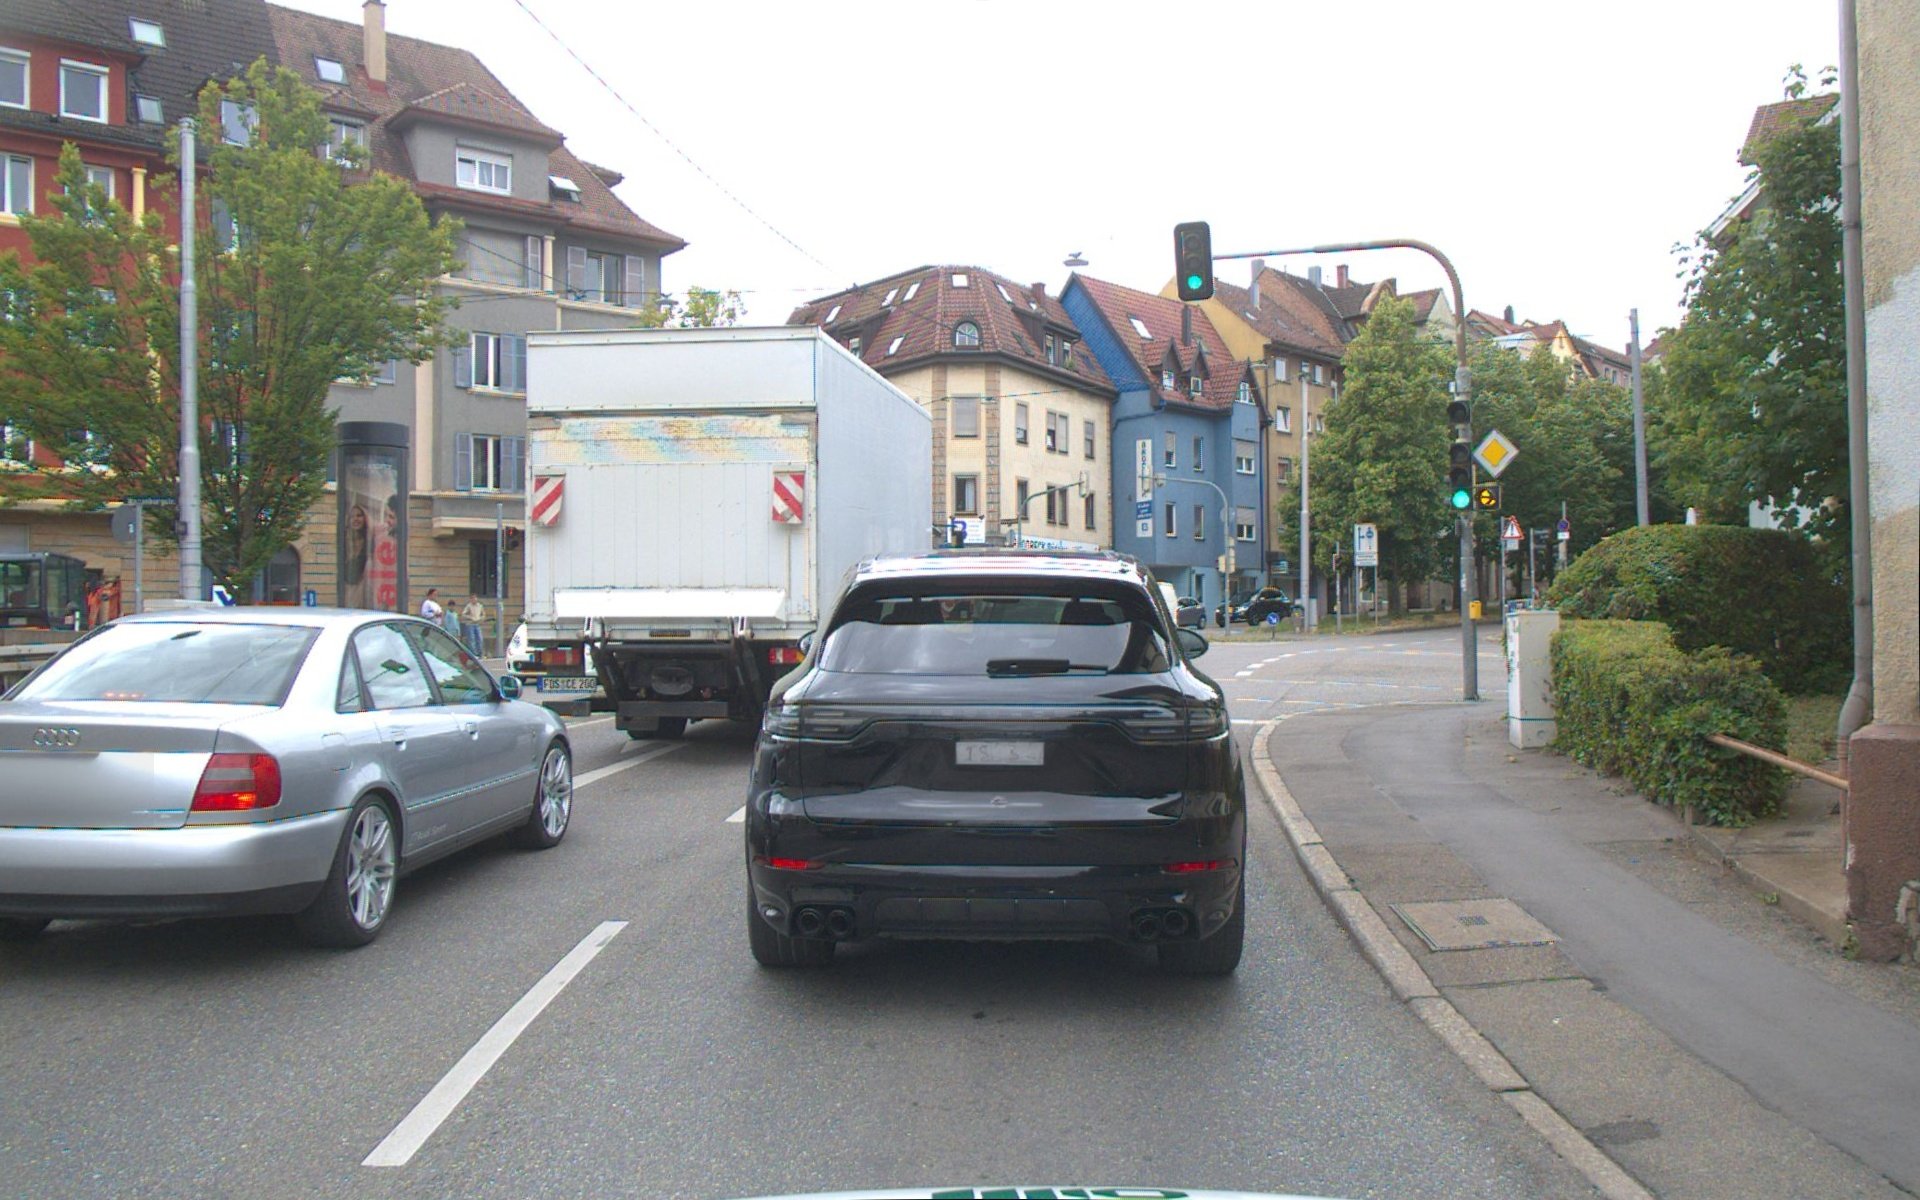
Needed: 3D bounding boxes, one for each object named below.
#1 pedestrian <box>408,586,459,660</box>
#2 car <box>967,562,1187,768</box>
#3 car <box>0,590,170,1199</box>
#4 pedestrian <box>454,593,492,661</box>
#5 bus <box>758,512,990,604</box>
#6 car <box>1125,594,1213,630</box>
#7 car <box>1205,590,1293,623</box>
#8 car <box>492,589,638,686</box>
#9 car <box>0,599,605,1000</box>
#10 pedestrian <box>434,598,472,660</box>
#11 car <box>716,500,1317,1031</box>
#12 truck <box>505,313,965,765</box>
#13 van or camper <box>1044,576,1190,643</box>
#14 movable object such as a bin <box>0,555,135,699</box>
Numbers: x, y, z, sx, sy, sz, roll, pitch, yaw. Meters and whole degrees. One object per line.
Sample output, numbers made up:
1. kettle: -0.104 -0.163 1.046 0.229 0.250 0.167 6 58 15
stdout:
1. pedestrian: -11.513 0.493 36.162 0.777 1.573 0.737 1 0 27
2. car: 1.157 0.515 14.763 1.613 1.583 3.586 1 0 9
3. car: -2.690 0.716 1.205 1.953 1.454 4.841 0 0 -1
4. pedestrian: -11.010 0.598 37.387 0.512 1.513 0.653 1 0 25
5. bus: -3.663 -1.514 65.211 3.132 3.150 11.996 -1 -1 -36
6. car: 9.031 0.515 71.294 1.691 1.502 4.194 -2 -1 41
7. car: 13.393 0.315 76.499 1.842 1.441 4.671 -2 -2 41
8. car: -6.416 0.577 27.202 1.565 1.472 3.530 -1 0 -1
9. car: -3.097 0.714 7.953 1.594 1.389 4.130 -1 0 4
10. pedestrian: -11.277 0.641 36.820 0.563 1.361 0.583 0 0 26
11. car: 0.160 0.534 7.798 1.990 1.753 4.499 1 1 -1
12. truck: -1.826 -0.528 17.556 2.667 3.606 8.428 1 0 7
13. van or camper: 4.991 0.287 53.210 1.979 2.049 4.766 1 0 -37
14. movable object such as a bin: -13.944 0.382 25.474 1.351 2.049 3.525 -1 0 -12
